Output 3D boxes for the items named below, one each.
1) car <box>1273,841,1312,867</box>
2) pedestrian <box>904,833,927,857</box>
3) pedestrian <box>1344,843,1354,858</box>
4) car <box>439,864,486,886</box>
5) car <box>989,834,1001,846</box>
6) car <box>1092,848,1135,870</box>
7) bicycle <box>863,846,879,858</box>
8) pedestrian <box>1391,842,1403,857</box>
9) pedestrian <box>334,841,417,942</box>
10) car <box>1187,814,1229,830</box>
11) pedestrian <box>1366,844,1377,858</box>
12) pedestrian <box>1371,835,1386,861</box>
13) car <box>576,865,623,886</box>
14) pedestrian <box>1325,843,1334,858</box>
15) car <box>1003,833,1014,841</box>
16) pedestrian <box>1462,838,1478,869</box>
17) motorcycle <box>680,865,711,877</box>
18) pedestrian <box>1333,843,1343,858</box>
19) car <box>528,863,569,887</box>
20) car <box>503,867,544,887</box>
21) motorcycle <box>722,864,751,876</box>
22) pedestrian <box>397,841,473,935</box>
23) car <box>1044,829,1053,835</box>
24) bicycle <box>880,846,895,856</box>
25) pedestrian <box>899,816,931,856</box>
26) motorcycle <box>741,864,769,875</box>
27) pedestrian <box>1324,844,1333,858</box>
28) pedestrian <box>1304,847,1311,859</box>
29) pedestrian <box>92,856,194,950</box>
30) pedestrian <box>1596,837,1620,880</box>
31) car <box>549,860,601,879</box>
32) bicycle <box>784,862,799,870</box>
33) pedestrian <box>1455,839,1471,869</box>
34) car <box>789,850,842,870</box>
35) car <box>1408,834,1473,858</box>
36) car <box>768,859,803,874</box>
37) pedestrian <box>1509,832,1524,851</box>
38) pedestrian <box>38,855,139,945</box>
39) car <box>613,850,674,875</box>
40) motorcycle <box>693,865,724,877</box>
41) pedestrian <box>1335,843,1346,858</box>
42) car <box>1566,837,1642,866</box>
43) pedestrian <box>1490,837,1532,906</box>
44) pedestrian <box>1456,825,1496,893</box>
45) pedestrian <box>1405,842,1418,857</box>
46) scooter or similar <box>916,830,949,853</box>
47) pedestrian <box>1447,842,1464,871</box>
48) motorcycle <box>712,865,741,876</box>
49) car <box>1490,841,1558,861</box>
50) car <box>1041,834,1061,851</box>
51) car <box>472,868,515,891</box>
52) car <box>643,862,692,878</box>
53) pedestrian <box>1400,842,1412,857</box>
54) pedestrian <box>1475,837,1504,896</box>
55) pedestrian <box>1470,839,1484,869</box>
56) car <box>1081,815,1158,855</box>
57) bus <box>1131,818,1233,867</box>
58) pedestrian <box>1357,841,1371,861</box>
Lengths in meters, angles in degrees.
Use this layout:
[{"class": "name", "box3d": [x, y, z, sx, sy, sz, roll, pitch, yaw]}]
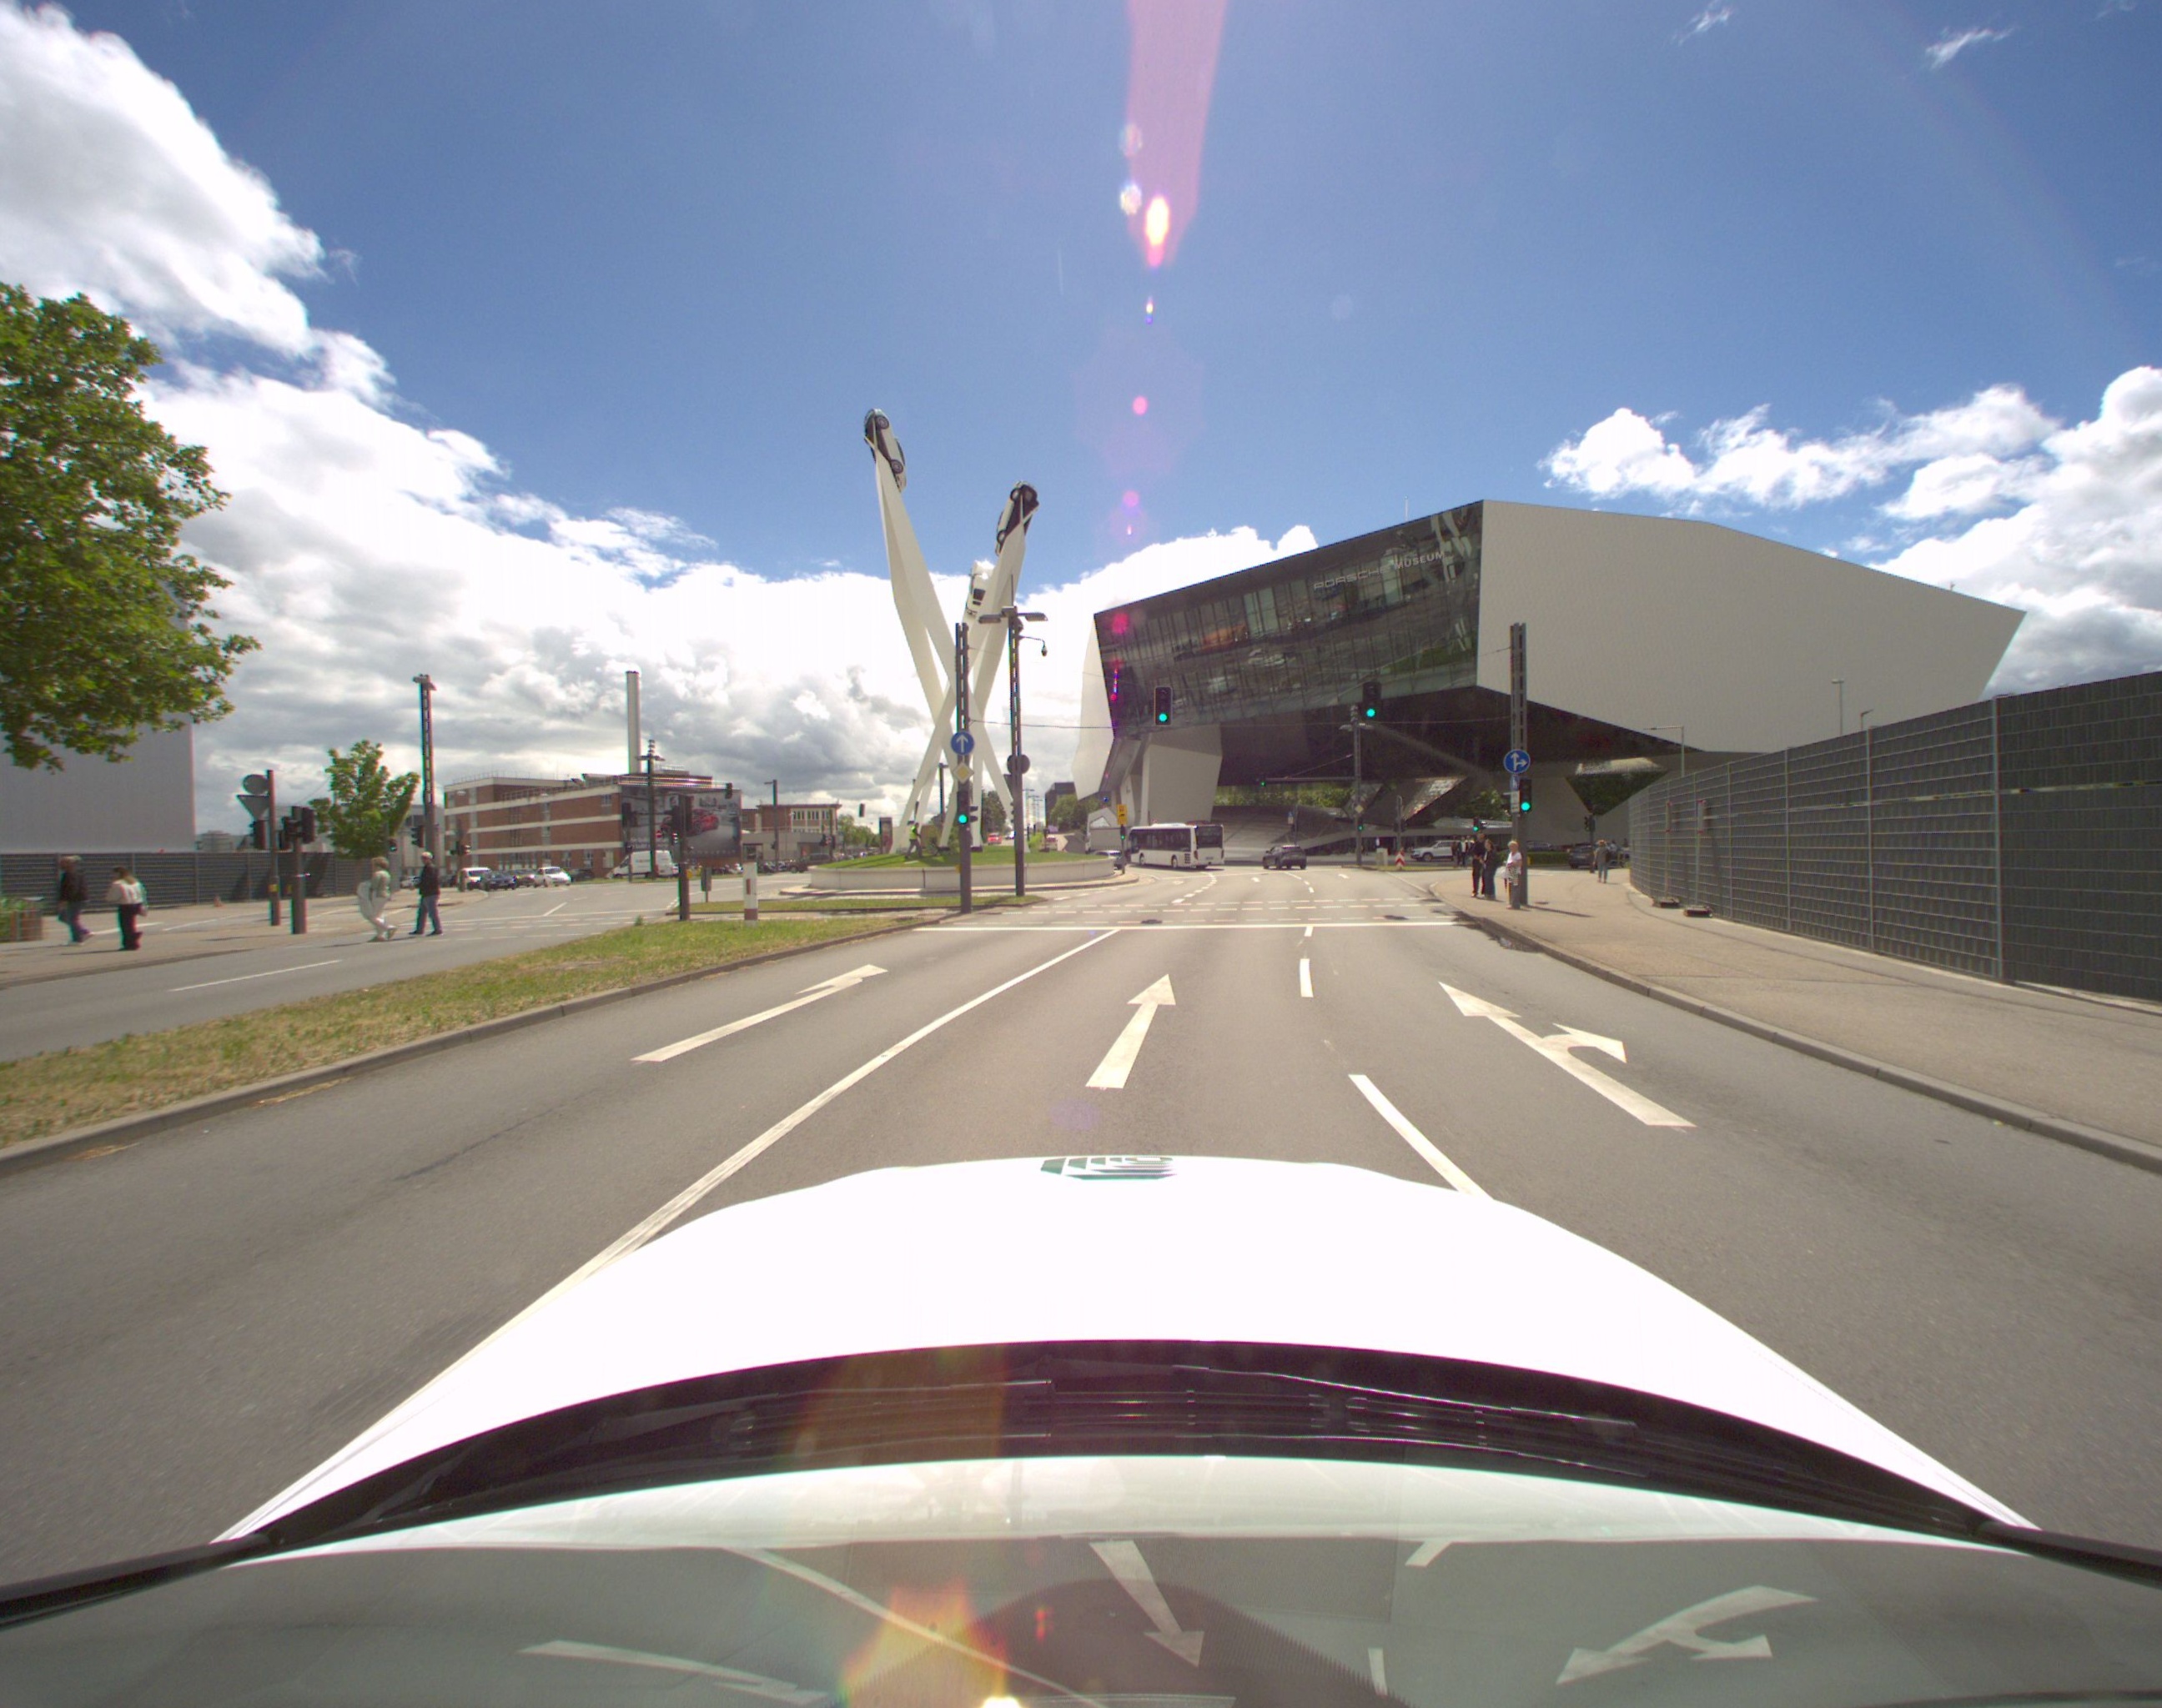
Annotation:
[{"class": "car", "box3d": [13.925, 0.003, 53.894, 1.983, 1.636, 4.008, -2, 0, 7]}, {"class": "pedestrian", "box3d": [-10.248, -0.537, 50.382, 0.846, 1.407, 0.970, -8, -3, 20]}, {"class": "pedestrian", "box3d": [28.312, -0.330, 86.107, 0.697, 1.573, 0.786, 0, -1, -41]}, {"class": "car", "box3d": [-46.515, 1.556, 61.219, 4.236, 1.624, 2.012, -1, -1, 41]}, {"class": "car", "box3d": [-15.286, -2.554, 144.930, 1.992, 1.983, 4.825, -2, 2, -7]}, {"class": "car", "box3d": [2.525, 0.386, 63.548, 2.000, 1.636, 3.972, 0, -1, -20]}, {"class": "bicycle", "box3d": [-22.720, -0.182, 88.091, 1.602, 1.316, 0.492, 0, -1, -3]}, {"class": "pedestrian", "box3d": [32.809, -0.502, 84.611, 0.828, 1.573, 0.920, 0, -1, -11]}, {"class": "pedestrian", "box3d": [-14.970, 0.774, 17.310, 0.945, 2.055, 0.955, 0, -1, 17]}, {"class": "car", "box3d": [14.561, -3.709, 93.640, 4.458, 1.394, 2.012, 9, 11, 44]}, {"class": "pedestrian", "box3d": [30.818, -0.313, 86.420, 0.828, 1.573, 0.920, 0, -1, -11]}, {"class": "pedestrian", "box3d": [23.319, -0.479, 63.783, 0.946, 1.984, 1.387, 0, 2, 14]}, {"class": "car", "box3d": [-37.437, 1.669, 63.324, 3.949, 1.577, 2.012, -1, -1, 41]}, {"class": "pedestrian", "box3d": [26.235, -0.347, 85.974, 0.821, 1.573, 0.928, 0, -1, 20]}, {"class": "car", "box3d": [-15.352, -3.634, 172.574, 1.750, 1.397, 4.673, 0, 3, -1]}, {"class": "pedestrian", "box3d": [23.095, -0.040, 48.325, 0.664, 1.847, 0.624, -1, -1, 43]}, {"class": "motorcycle", "box3d": [-38.578, 1.701, 81.529, 2.881, 1.196, 0.924, 0, -1, 16]}, {"class": "pedestrian", "box3d": [27.404, -0.322, 86.749, 0.912, 1.573, 0.835, -1, -1, 27]}, {"class": "car", "box3d": [-40.425, 1.561, 61.792, 1.923, 1.797, 3.729, 0, -1, -44]}, {"class": "car", "box3d": [-46.238, 1.884, 67.519, 4.170, 1.556, 1.836, -1, -1, 41]}, {"class": "motorcycle", "box3d": [-36.354, 1.697, 86.033, 2.881, 1.196, 0.924, 0, -1, 16]}, {"class": "pedestrian", "box3d": [-14.630, 0.746, 18.459, 0.945, 2.055, 0.955, 0, -1, 17]}, {"class": "car", "box3d": [-8.496, -5.761, 212.791, 1.987, 1.635, 4.655, 0, 2, 0]}, {"class": "bicycle", "box3d": [-23.082, -0.374, 97.171, 1.733, 1.182, 0.669, 0, 1, -4]}, {"class": "pedestrian", "box3d": [-7.904, -0.871, 38.759, 1.285, 1.816, 0.981, -6, 4, -18]}, {"class": "motorcycle", "box3d": [-35.415, 1.705, 88.416, 2.881, 1.196, 0.924, 0, -1, 16]}, {"class": "pedestrian", "box3d": [26.492, -0.315, 87.134, 0.820, 1.573, 0.929, -1, -1, 25]}, {"class": "pedestrian", "box3d": [25.712, -0.114, 92.381, 0.554, 1.253, 0.477, -1, -1, 38]}, {"class": "pedestrian", "box3d": [-18.349, 0.928, 15.965, 0.865, 1.774, 1.030, 0, -1, -16]}, {"class": "pedestrian", "box3d": [19.823, 0.162, 30.642, 0.686, 1.586, 0.927, -1, -1, 30]}, {"class": "car", "box3d": [-50.698, 1.529, 81.544, 4.463, 1.858, 2.221, 0, -1, 22]}, {"class": "bicycle", "box3d": [-28.968, 1.188, 81.411, 1.590, 0.866, 0.496, -1, -1, 32]}, {"class": "pedestrian", "box3d": [22.487, 0.002, 47.919, 0.664, 1.795, 0.624, -1, -1, 45]}, {"class": "car", "box3d": [-22.873, 0.506, 70.315, 3.977, 1.636, 1.998, 0, -1, -2]}, {"class": "car", "box3d": [26.726, -0.582, 60.593, 3.969, 1.550, 1.840, -3, -1, 4]}, {"class": "car", "box3d": [-34.150, 1.449, 94.172, 3.447, 1.804, 1.711, 0, -1, 14]}, {"class": "pedestrian", "box3d": [40.195, -1.157, 75.160, 0.828, 1.676, 0.920, 0, -1, -11]}, {"class": "pedestrian", "box3d": [-20.335, 0.908, 16.717, 0.865, 1.774, 1.030, 0, -1, -16]}, {"class": "car", "box3d": [-38.857, 0.791, 72.376, 4.608, 2.171, 2.007, 0, -1, 13]}, {"class": "motorcycle", "box3d": [-37.956, 1.689, 82.996, 2.881, 1.196, 0.924, 0, -1, 16]}, {"class": "pedestrian", "box3d": [27.277, -0.329, 85.591, 0.912, 1.573, 0.835, -1, -1, 24]}, {"class": "car", "box3d": [30.994, -0.138, 48.292, 4.007, 1.702, 1.983, 0, -1, -25]}, {"class": "pedestrian", "box3d": [10.376, 0.418, 19.670, 0.655, 1.608, 0.825, 0, -1, 9]}, {"class": "pedestrian", "box3d": [11.199, 0.140, 23.112, 0.661, 1.866, 0.789, 0, -1, -16]}, {"class": "pedestrian", "box3d": [34.216, -0.486, 84.364, 0.828, 1.573, 0.920, 0, -1, -11]}, {"class": "scooter or similar", "box3d": [-7.114, -0.580, 39.051, 1.405, 1.025, 0.546, -3, 0, -21]}, {"class": "pedestrian", "box3d": [21.718, 0.133, 47.266, 0.675, 1.638, 0.614, 0, -1, -29]}, {"class": "motorcycle", "box3d": [-36.972, 1.718, 84.968, 2.881, 1.196, 0.924, 0, -1, 16]}, {"class": "car", "box3d": [32.626, -0.258, 60.074, 4.139, 1.383, 1.835, -1, 1, -6]}, {"class": "car", "box3d": [-3.676, -1.386, 99.731, 1.994, 1.904, 3.986, 0, 0, -10]}, {"class": "car", "box3d": [-41.750, 1.758, 57.833, 3.908, 1.556, 1.814, -1, -1, 44]}, {"class": "car", "box3d": [-40.212, 1.513, 79.197, 3.955, 1.500, 2.009, 0, -1, 18]}, {"class": "pedestrian", "box3d": [33.998, -0.497, 85.280, 0.828, 1.573, 0.920, 0, -1, -11]}, {"class": "pedestrian", "box3d": [11.247, 0.339, 22.431, 0.462, 1.616, 0.663, 0, -1, 1]}, {"class": "pedestrian", "box3d": [23.797, -0.008, 48.898, 0.599, 1.759, 0.624, -1, -1, 44]}, {"class": "car", "box3d": [3.523, -1.685, 78.175, 3.352, 3.504, 9.262, 0, -1, -26]}, {"class": "bus", "box3d": [7.390, -0.729, 62.517, 3.079, 3.362, 12.151, 0, 0, -17]}, {"class": "pedestrian", "box3d": [21.290, -0.192, 61.277, 0.585, 1.496, 0.763, 0, -1, -34]}]
